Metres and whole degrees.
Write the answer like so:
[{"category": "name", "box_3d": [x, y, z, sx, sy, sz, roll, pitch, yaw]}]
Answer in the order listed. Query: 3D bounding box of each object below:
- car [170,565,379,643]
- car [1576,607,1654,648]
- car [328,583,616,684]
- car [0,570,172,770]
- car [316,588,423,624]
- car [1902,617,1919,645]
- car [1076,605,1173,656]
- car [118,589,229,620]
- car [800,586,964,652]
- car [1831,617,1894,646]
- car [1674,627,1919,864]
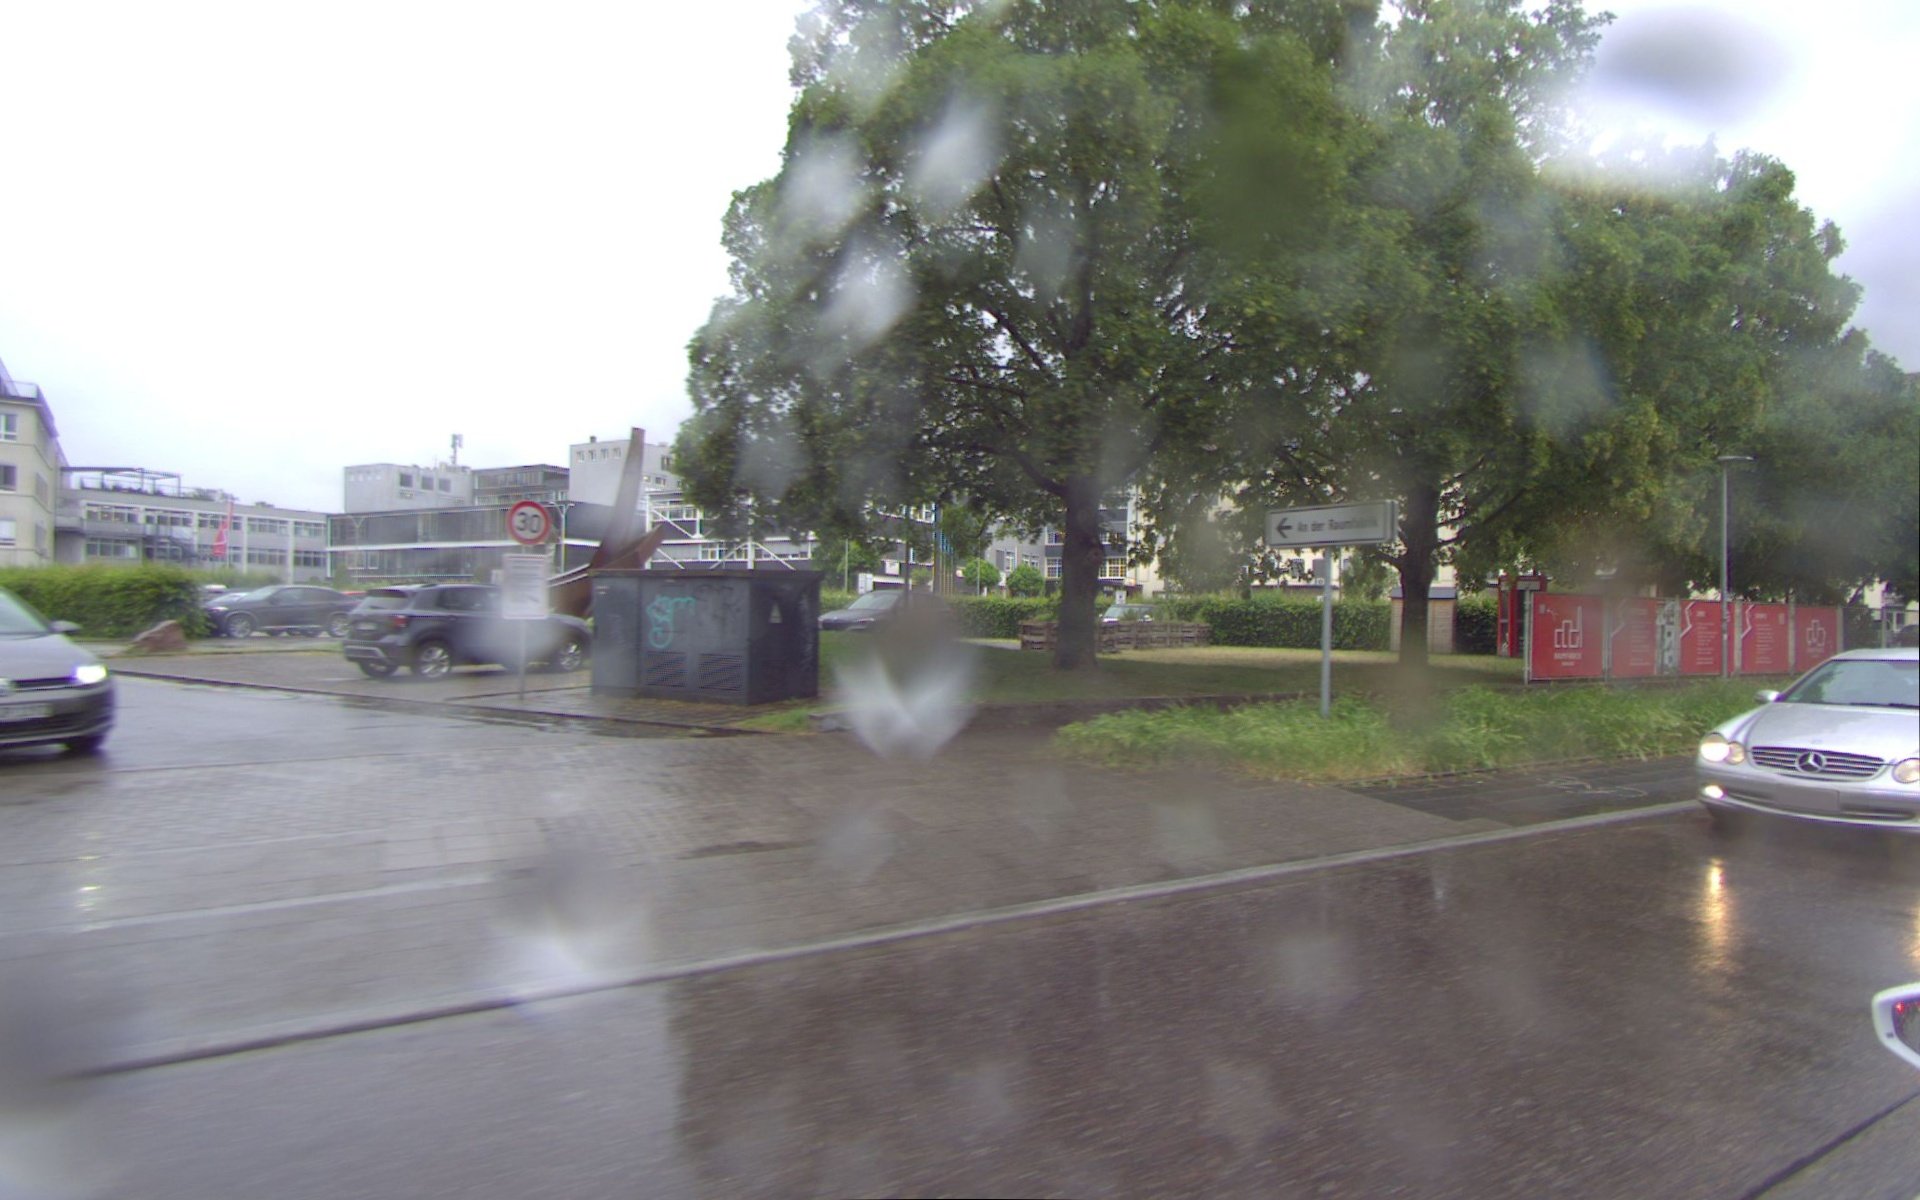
[{"category": "car", "box_3d": [-20.977, 0.131, 30.988, 1.964, 2.180, 4.966, 1, 0, 28]}, {"category": "car", "box_3d": [27.473, 1.166, 42.273, 1.961, 1.578, 4.000, 1, -2, 21]}, {"category": "car", "box_3d": [-8.313, 0.538, 17.520, 1.758, 1.529, 4.291, 0, -1, 30]}, {"category": "car", "box_3d": [-8.756, 0.443, 8.359, 4.262, 1.414, 2.009, 3, 0, 30]}, {"category": "car", "box_3d": [-28.111, 0.266, 47.953, 1.963, 1.636, 3.995, 0, 0, 27]}, {"category": "car", "box_3d": [51.404, 1.665, 52.895, 1.679, 1.453, 3.644, 2, 0, 28]}, {"category": "car", "box_3d": [5.655, 1.026, 34.192, 1.772, 1.604, 3.989, 1, -1, 33]}, {"category": "car", "box_3d": [-43.249, 0.223, 55.374, 1.961, 1.636, 4.444, 0, 0, 22]}, {"category": "car", "box_3d": [-1.923, 0.481, 26.194, 1.966, 1.547, 4.421, 1, 0, 33]}, {"category": "car", "box_3d": [48.725, 1.663, 54.289, 1.679, 1.453, 3.644, 2, 0, 28]}, {"category": "car", "box_3d": [7.758, 0.993, 7.915, 4.776, 1.422, 1.765, 2, 0, -32]}]
